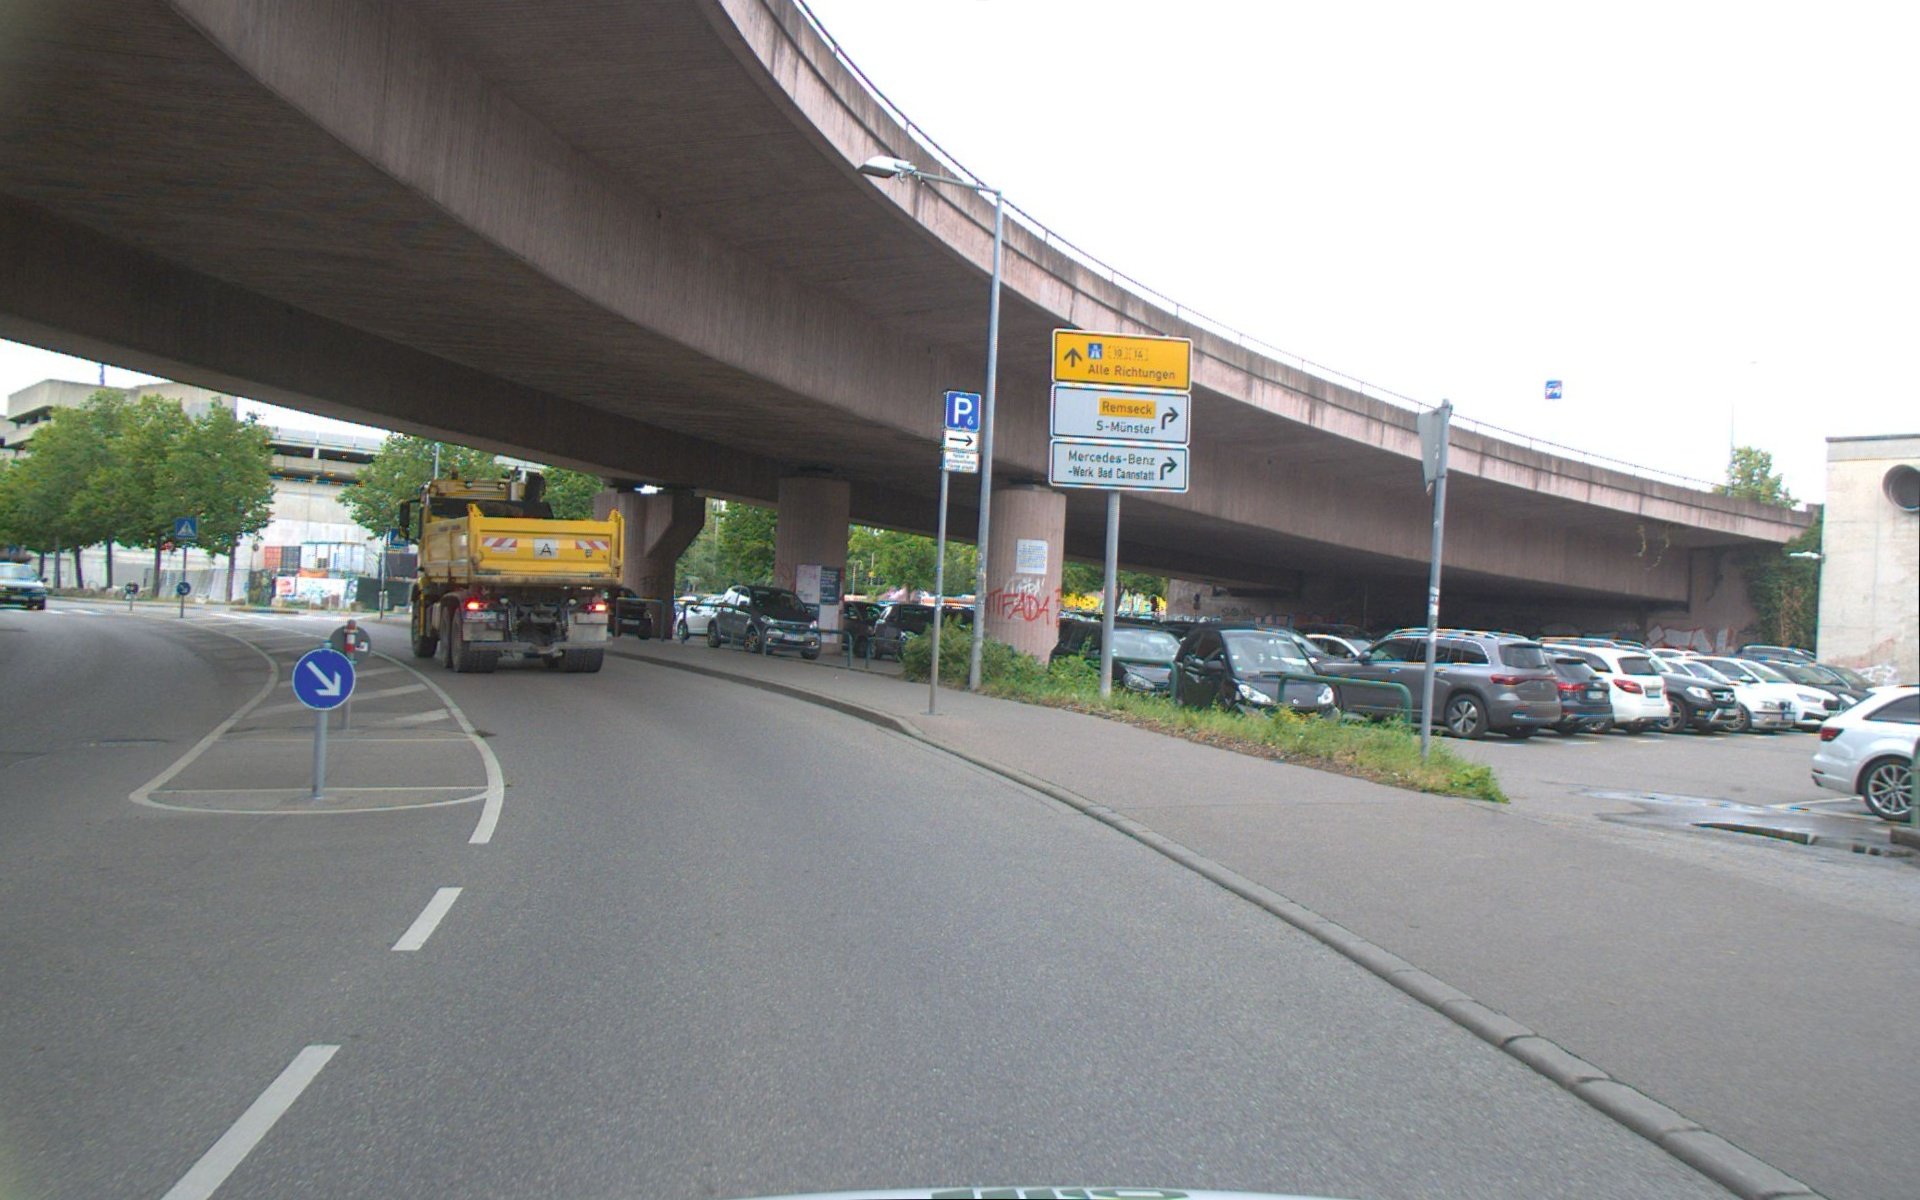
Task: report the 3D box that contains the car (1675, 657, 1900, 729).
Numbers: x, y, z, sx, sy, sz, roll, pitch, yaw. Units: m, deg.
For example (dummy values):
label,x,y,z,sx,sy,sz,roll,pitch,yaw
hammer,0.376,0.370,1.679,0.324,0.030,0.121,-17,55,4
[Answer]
label,x,y,z,sx,sy,sz,roll,pitch,yaw
car,18.582,2.058,37.274,1.693,1.328,4.199,3,-1,-40

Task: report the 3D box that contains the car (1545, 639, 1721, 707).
label,x,y,z,sx,sy,sz,roll,pitch,yaw
car,18.501,1.999,45.586,1.821,1.620,4.131,3,-1,-40

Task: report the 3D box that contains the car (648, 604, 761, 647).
label,x,y,z,sx,sy,sz,roll,pitch,yaw
car,-10.025,1.019,65.059,4.213,1.445,1.487,4,0,-43

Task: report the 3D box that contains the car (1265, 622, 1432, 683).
label,x,y,z,sx,sy,sz,roll,pitch,yaw
car,12.600,1.691,53.891,2.072,1.706,5.032,3,-1,-40

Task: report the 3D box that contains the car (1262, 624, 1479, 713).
label,x,y,z,sx,sy,sz,roll,pitch,yaw
car,8.549,1.407,34.700,1.821,1.620,4.131,3,-1,-40

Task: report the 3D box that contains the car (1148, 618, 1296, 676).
label,x,y,z,sx,sy,sz,roll,pitch,yaw
car,7.723,1.372,48.970,1.821,1.491,4.131,3,-1,-40

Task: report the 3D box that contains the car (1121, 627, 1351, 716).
label,x,y,z,sx,sy,sz,roll,pitch,yaw
car,5.218,1.336,31.696,1.821,1.446,4.131,3,-1,-40

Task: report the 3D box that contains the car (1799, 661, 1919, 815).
label,x,y,z,sx,sy,sz,roll,pitch,yaw
car,11.115,1.487,16.421,1.839,1.501,4.624,3,-1,-37

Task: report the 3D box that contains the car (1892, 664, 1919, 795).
label,x,y,z,sx,sy,sz,roll,pitch,yaw
car,13.091,1.583,18.162,1.840,1.501,4.620,3,-1,-39

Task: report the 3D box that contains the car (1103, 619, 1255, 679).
label,x,y,z,sx,sy,sz,roll,pitch,yaw
car,6.186,1.378,47.030,1.821,1.491,4.131,3,-1,-40

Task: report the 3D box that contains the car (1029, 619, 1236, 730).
label,x,y,z,sx,sy,sz,roll,pitch,yaw
car,2.593,1.103,25.891,1.702,1.505,4.230,3,-1,-16

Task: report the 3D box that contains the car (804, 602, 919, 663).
label,x,y,z,sx,sy,sz,roll,pitch,yaw
car,-2.830,0.904,47.005,1.516,1.526,3.326,6,-3,-40

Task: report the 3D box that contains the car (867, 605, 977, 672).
label,x,y,z,sx,sy,sz,roll,pitch,yaw
car,-1.023,0.982,42.392,1.757,1.533,3.840,4,-2,-17

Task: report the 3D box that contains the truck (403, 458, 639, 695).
label,x,y,z,sx,sy,sz,roll,pitch,yaw
truck,-8.271,-0.354,30.387,2.725,3.763,7.812,0,0,-26

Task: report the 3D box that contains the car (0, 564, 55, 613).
label,x,y,z,sx,sy,sz,roll,pitch,yaw
car,-29.903,-0.375,52.778,1.657,1.455,3.963,3,-1,-28

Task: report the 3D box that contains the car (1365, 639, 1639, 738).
label,x,y,z,sx,sy,sz,roll,pitch,yaw
car,9.592,1.539,29.565,1.740,1.474,4.394,3,-1,-40

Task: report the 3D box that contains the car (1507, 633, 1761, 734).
label,x,y,z,sx,sy,sz,roll,pitch,yaw
car,13.300,1.611,32.843,1.740,1.721,4.368,3,-1,-40

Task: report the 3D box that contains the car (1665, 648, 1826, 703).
label,x,y,z,sx,sy,sz,roll,pitch,yaw
car,24.311,2.324,51.292,1.821,1.433,4.131,3,-1,-40

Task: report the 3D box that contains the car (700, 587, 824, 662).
label,x,y,z,sx,sy,sz,roll,pitch,yaw
car,-4.647,0.545,38.441,1.589,1.560,3.376,5,-2,-30

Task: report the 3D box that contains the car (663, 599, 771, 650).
label,x,y,z,sx,sy,sz,roll,pitch,yaw
car,-8.316,0.827,56.447,1.626,1.579,3.947,3,-1,-43

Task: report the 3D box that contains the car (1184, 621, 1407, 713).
label,x,y,z,sx,sy,sz,roll,pitch,yaw
car,6.669,1.312,33.206,1.821,1.620,4.131,3,-1,-40

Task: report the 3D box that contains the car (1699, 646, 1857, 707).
label,x,y,z,sx,sy,sz,roll,pitch,yaw
car,26.078,2.417,52.813,1.821,1.717,4.131,3,-1,-40

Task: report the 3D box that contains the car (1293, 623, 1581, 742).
label,x,y,z,sx,sy,sz,roll,pitch,yaw
car,7.905,1.330,27.754,1.729,1.704,4.405,3,-1,-40

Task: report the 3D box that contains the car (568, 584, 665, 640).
label,x,y,z,sx,sy,sz,roll,pitch,yaw
car,-9.711,0.322,46.575,1.589,1.421,3.544,5,-2,-30

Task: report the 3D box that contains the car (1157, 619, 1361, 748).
label,x,y,z,sx,sy,sz,roll,pitch,yaw
car,3.837,1.044,21.591,1.515,1.505,2.748,3,-1,-17

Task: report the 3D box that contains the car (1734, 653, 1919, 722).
label,x,y,z,sx,sy,sz,roll,pitch,yaw
car,20.534,2.020,38.539,1.693,1.328,4.199,3,-1,-40

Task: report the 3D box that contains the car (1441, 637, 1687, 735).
label,x,y,z,sx,sy,sz,roll,pitch,yaw
car,11.380,1.597,31.345,1.740,1.584,4.028,3,-1,-40

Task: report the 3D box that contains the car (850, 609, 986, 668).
label,x,y,z,sx,sy,sz,roll,pitch,yaw
car,-1.283,1.115,48.486,1.818,1.496,4.324,5,-2,-36

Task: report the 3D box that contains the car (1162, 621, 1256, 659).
label,x,y,z,sx,sy,sz,roll,pitch,yaw
car,11.028,1.781,73.327,3.795,1.504,1.746,2,-1,43

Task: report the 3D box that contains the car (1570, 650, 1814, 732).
label,x,y,z,sx,sy,sz,roll,pitch,yaw
car,15.049,1.847,34.201,1.616,1.387,4.342,3,-1,-40

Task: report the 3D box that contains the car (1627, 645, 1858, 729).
label,x,y,z,sx,sy,sz,roll,pitch,yaw
car,16.836,1.849,35.739,1.693,1.535,4.199,3,-1,-40

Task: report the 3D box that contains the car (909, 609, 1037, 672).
label,x,y,z,sx,sy,sz,roll,pitch,yaw
car,0.355,1.201,50.192,1.821,1.728,3.806,3,-1,-40
